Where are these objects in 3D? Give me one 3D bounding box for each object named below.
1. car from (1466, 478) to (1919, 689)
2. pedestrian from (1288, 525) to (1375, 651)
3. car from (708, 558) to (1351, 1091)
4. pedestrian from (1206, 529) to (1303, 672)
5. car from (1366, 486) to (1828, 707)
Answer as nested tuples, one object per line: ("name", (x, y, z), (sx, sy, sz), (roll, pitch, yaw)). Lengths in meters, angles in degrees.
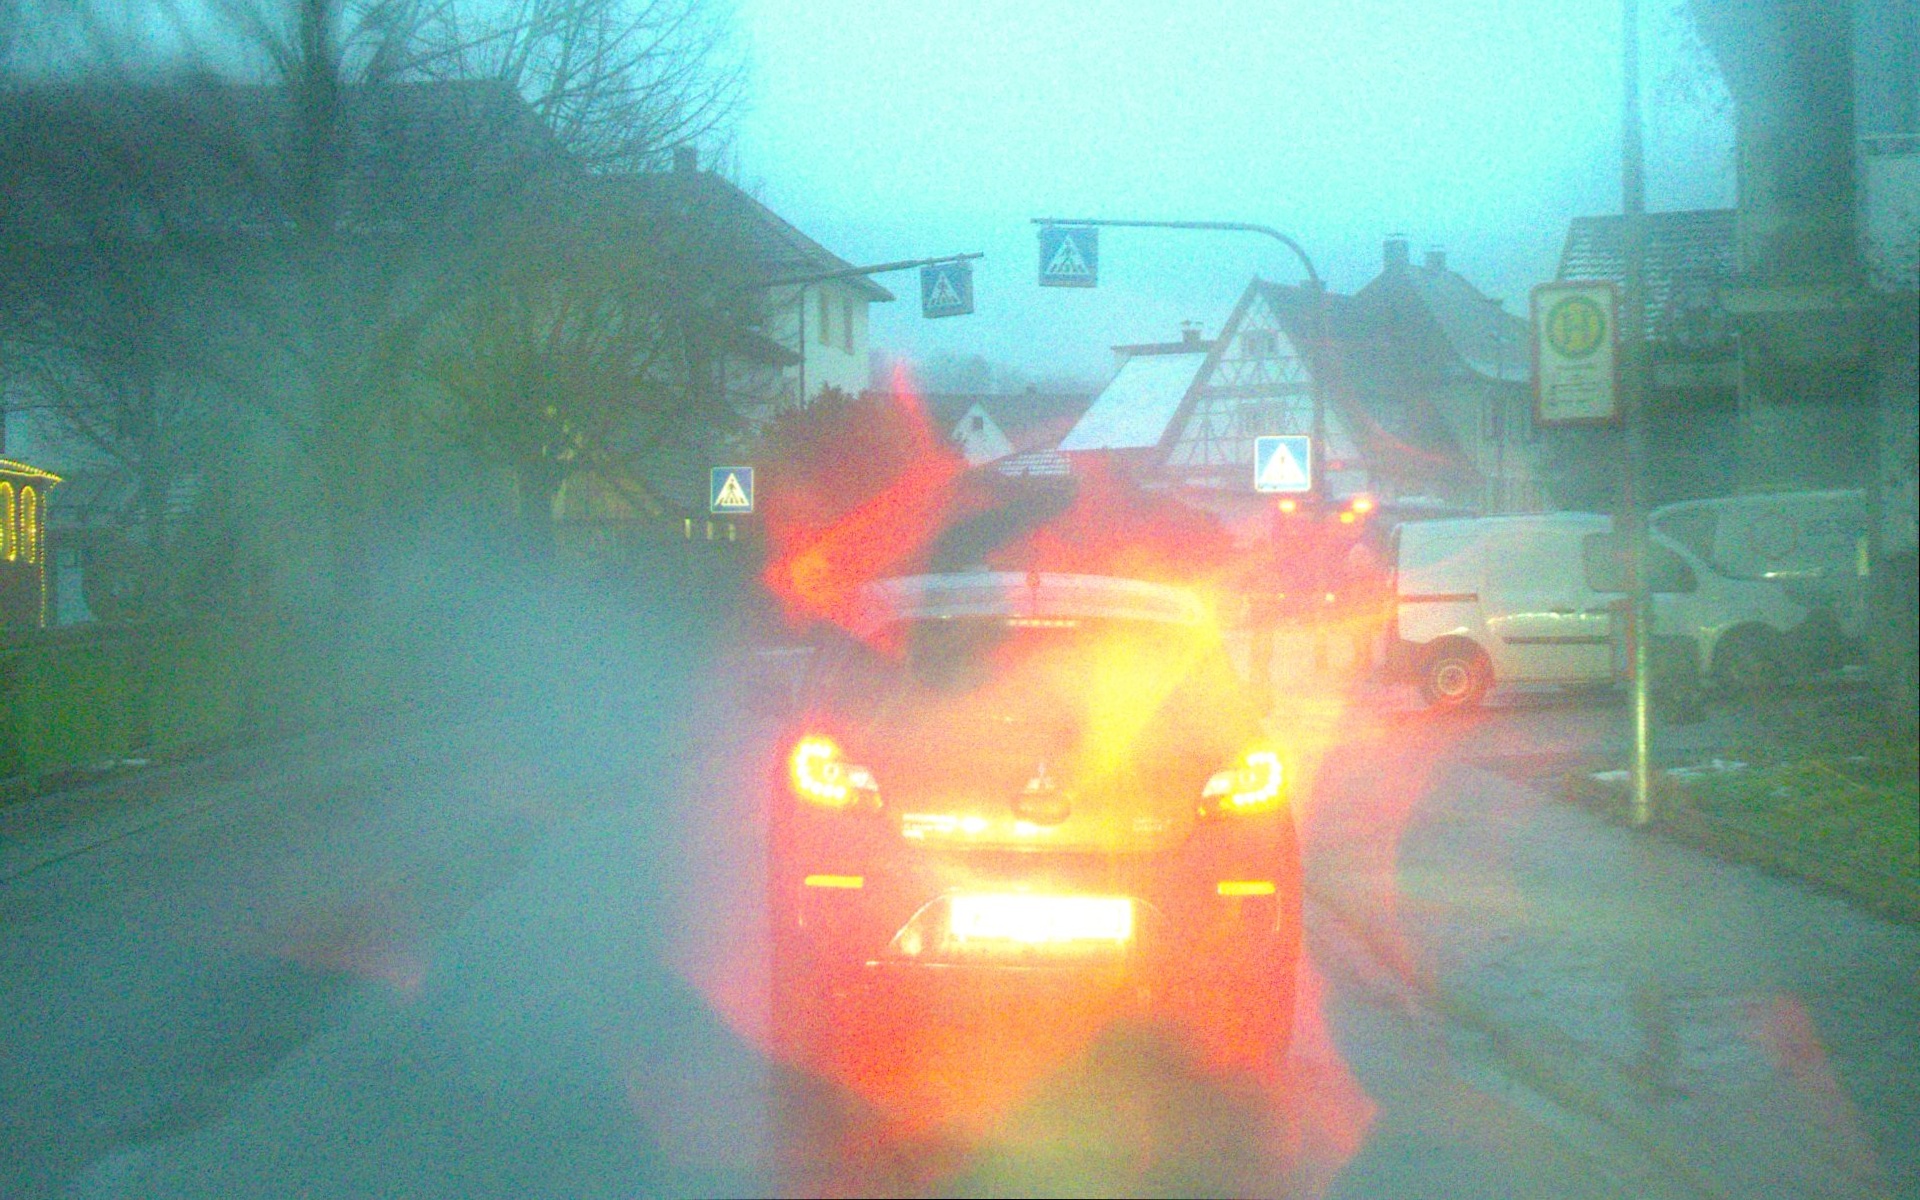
("car", (7.694, -0.183, 34.393), (4.983, 1.882, 1.936), (-2, 1, 13))
("pedestrian", (5.099, -0.172, 47.154), (0.868, 1.661, 0.991), (-3, 0, 21))
("car", (0.223, 0.608, 11.696), (1.795, 1.471, 4.000), (1, 1, 1))
("pedestrian", (3.700, 0.001, 43.144), (0.880, 1.729, 0.954), (-3, 0, 21))
("car", (5.894, -0.029, 32.074), (4.043, 1.837, 1.863), (-2, 0, 9))
